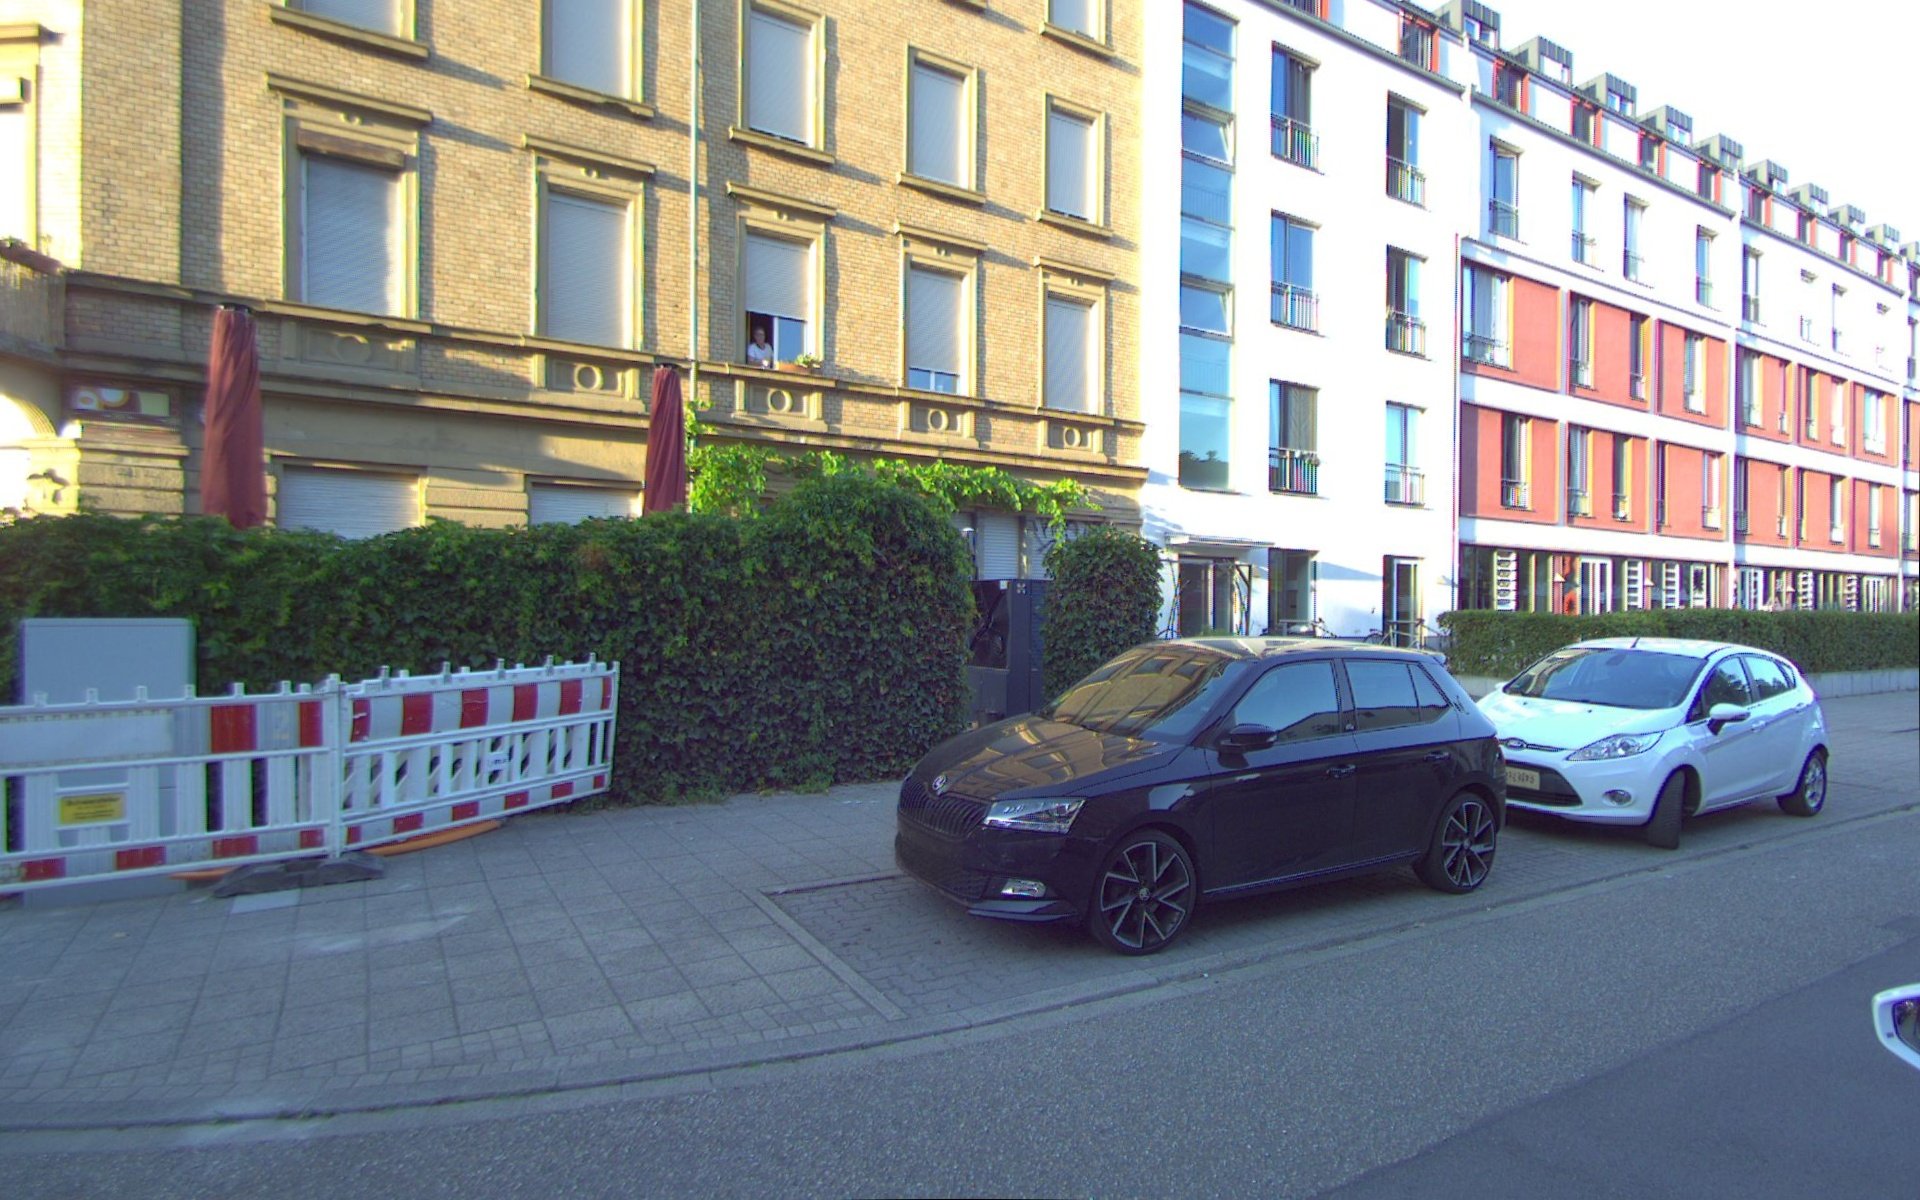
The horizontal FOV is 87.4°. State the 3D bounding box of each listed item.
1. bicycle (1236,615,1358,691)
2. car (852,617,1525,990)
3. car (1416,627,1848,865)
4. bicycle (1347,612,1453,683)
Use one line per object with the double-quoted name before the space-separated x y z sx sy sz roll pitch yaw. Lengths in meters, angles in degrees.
"bicycle" 5.683 0.866 17.034 0.802 1.157 1.907 1 1 -29
"car" 1.439 0.908 5.988 3.799 1.554 1.695 1 0 -31
"car" 5.792 1.027 8.526 3.974 1.550 1.641 1 0 -34
"bicycle" 7.968 0.832 18.258 0.602 1.163 1.769 1 1 -27
